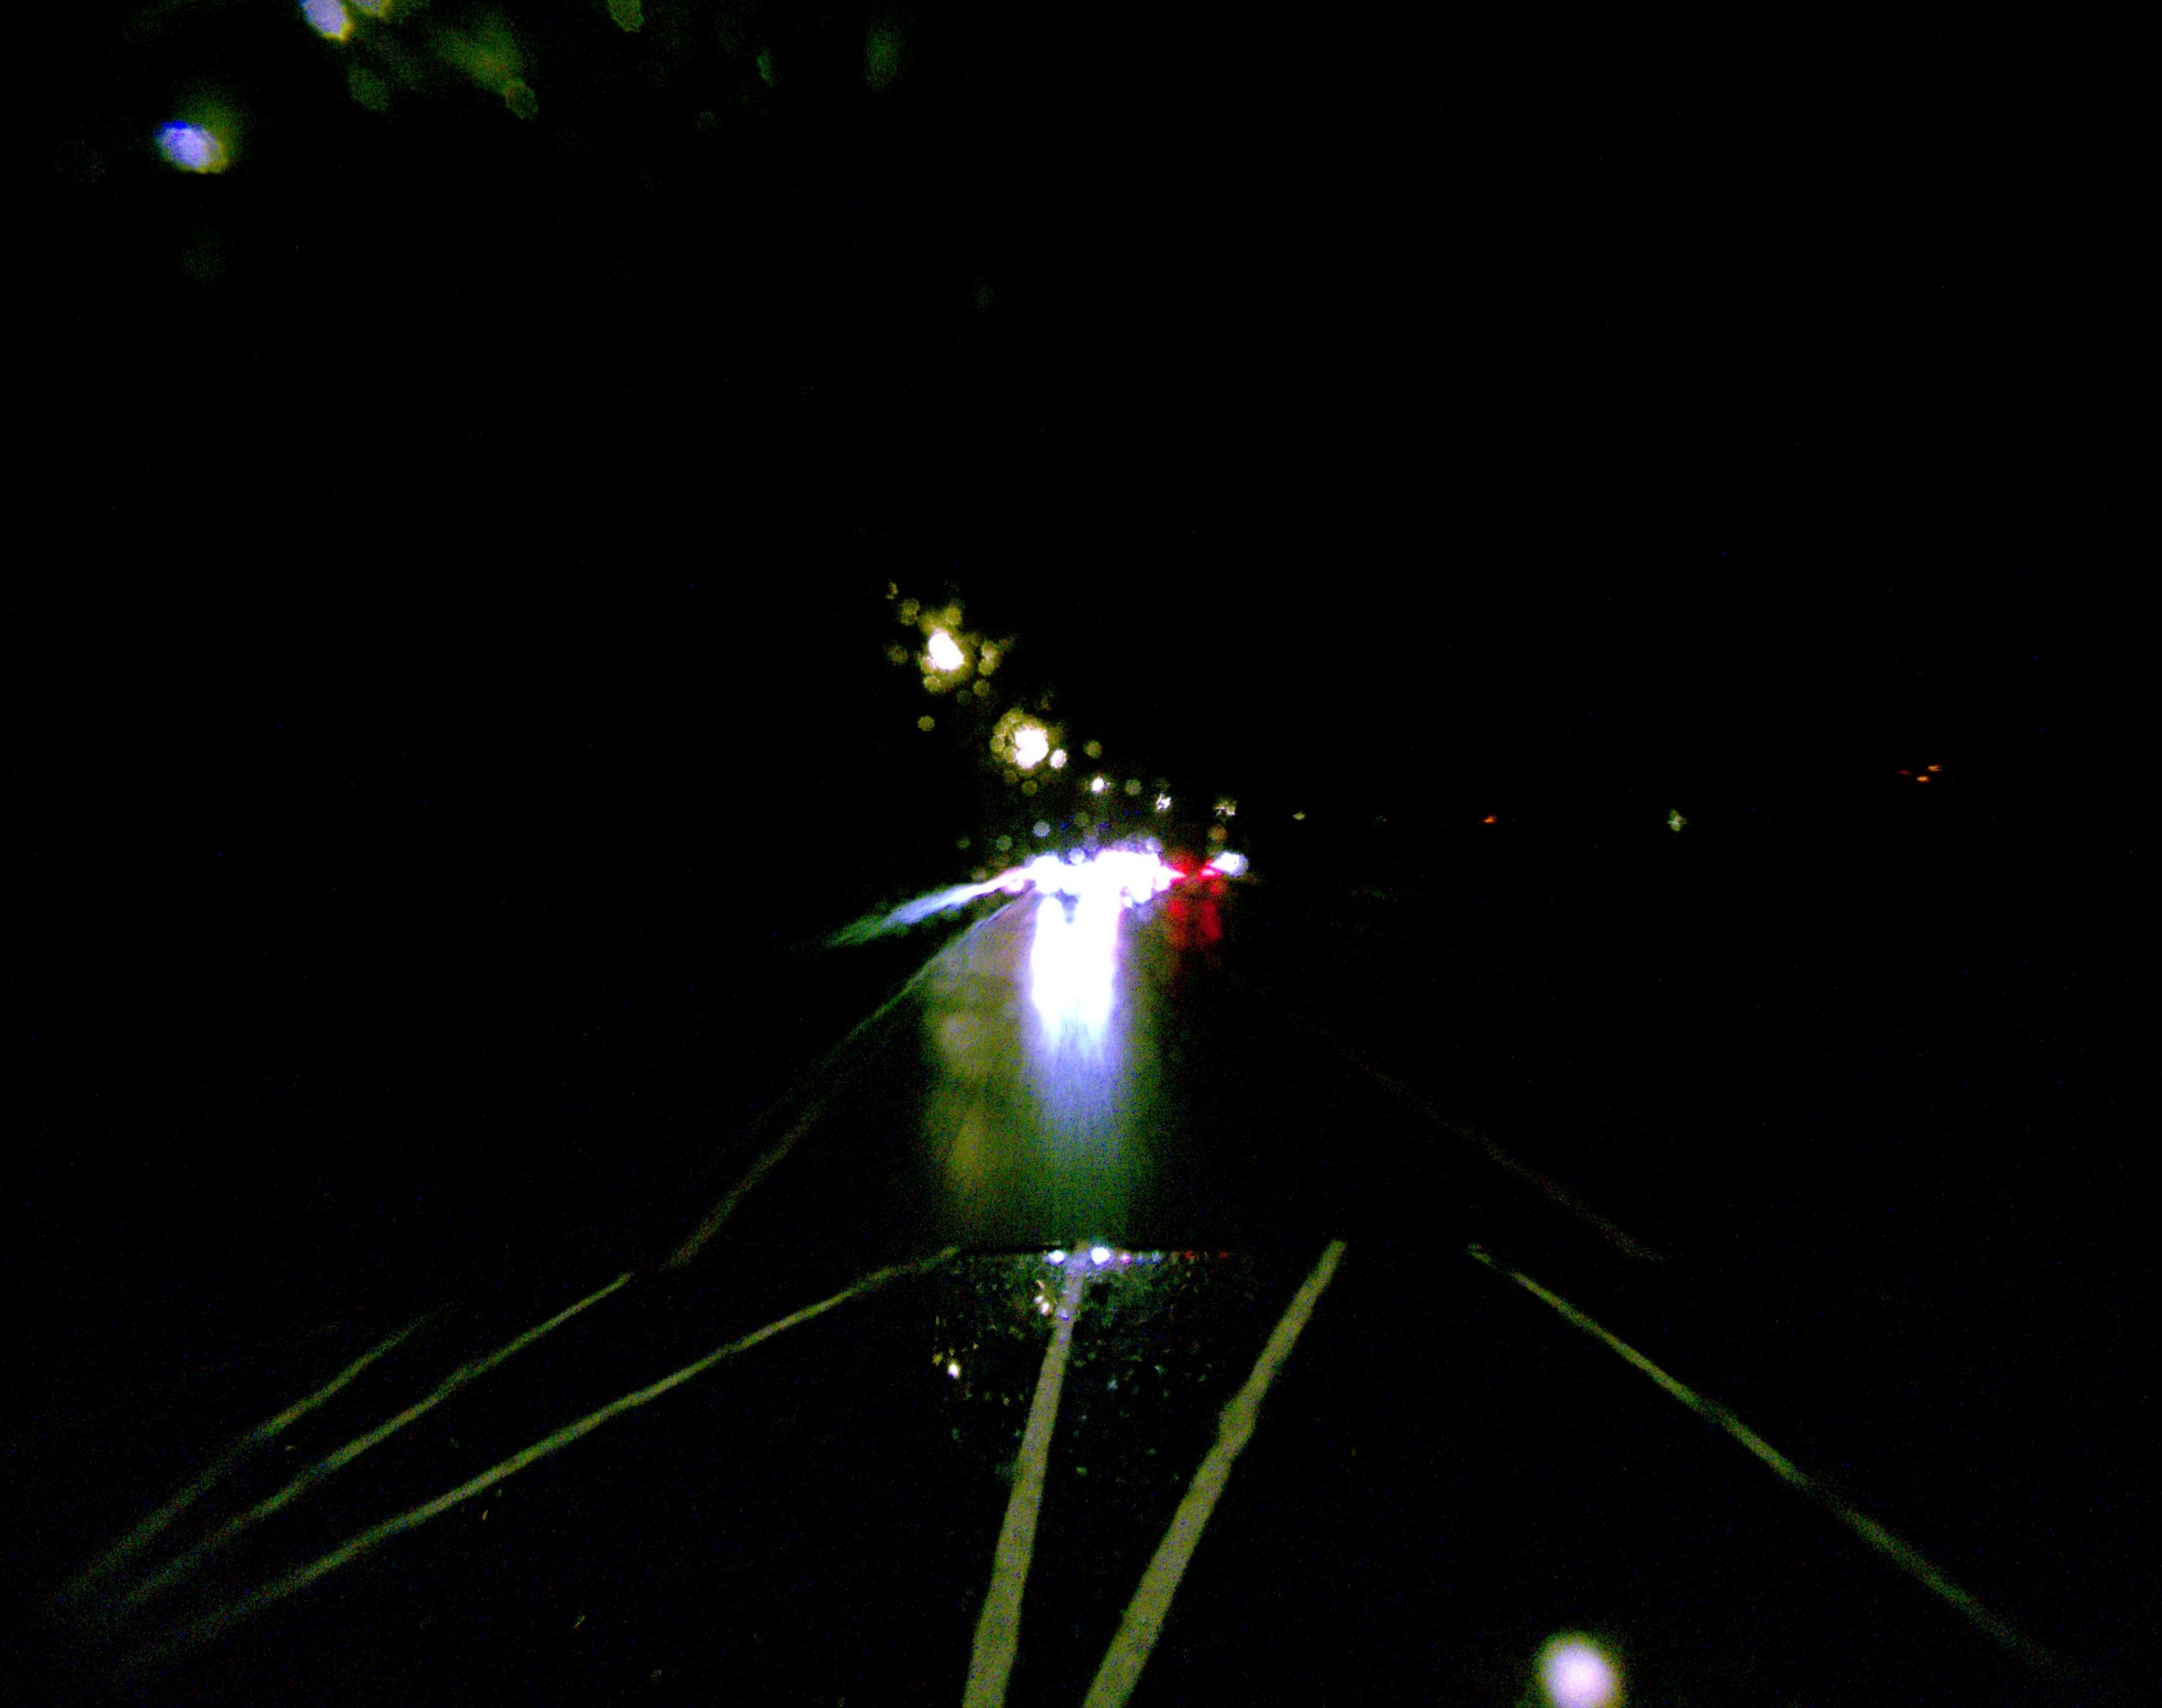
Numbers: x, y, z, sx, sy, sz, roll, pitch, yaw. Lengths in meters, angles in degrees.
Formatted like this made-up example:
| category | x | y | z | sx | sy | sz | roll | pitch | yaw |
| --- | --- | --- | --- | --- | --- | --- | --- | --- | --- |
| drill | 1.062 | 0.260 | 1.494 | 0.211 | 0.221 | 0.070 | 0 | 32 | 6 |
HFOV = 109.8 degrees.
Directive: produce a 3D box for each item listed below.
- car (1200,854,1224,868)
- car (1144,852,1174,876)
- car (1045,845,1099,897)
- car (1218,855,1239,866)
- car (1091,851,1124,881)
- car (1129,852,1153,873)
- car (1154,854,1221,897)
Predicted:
| category | x | y | z | sx | sy | sz | roll | pitch | yaw |
| --- | --- | --- | --- | --- | --- | --- | --- | --- | --- |
| car | 14.944 | 0.765 | 86.487 | 1.794 | 1.384 | 4.598 | 0 | 1 | 21 |
| car | 4.952 | 0.609 | 48.419 | 1.621 | 1.470 | 4.046 | -1 | 0 | 2 |
| car | -0.311 | 0.632 | 29.759 | 1.936 | 1.861 | 4.000 | -1 | 0 | 1 |
| car | 21.128 | 0.881 | 108.858 | 1.995 | 1.475 | 4.007 | -1 | 0 | 27 |
| car | 1.841 | 0.784 | 51.503 | 1.998 | 1.922 | 4.002 | -1 | 0 | 5 |
| car | 5.742 | 0.820 | 72.304 | 1.997 | 1.922 | 4.003 | -1 | 0 | 8 |
| car | 3.933 | 0.754 | 28.723 | 1.764 | 1.423 | 4.327 | -2 | 0 | -1 |
